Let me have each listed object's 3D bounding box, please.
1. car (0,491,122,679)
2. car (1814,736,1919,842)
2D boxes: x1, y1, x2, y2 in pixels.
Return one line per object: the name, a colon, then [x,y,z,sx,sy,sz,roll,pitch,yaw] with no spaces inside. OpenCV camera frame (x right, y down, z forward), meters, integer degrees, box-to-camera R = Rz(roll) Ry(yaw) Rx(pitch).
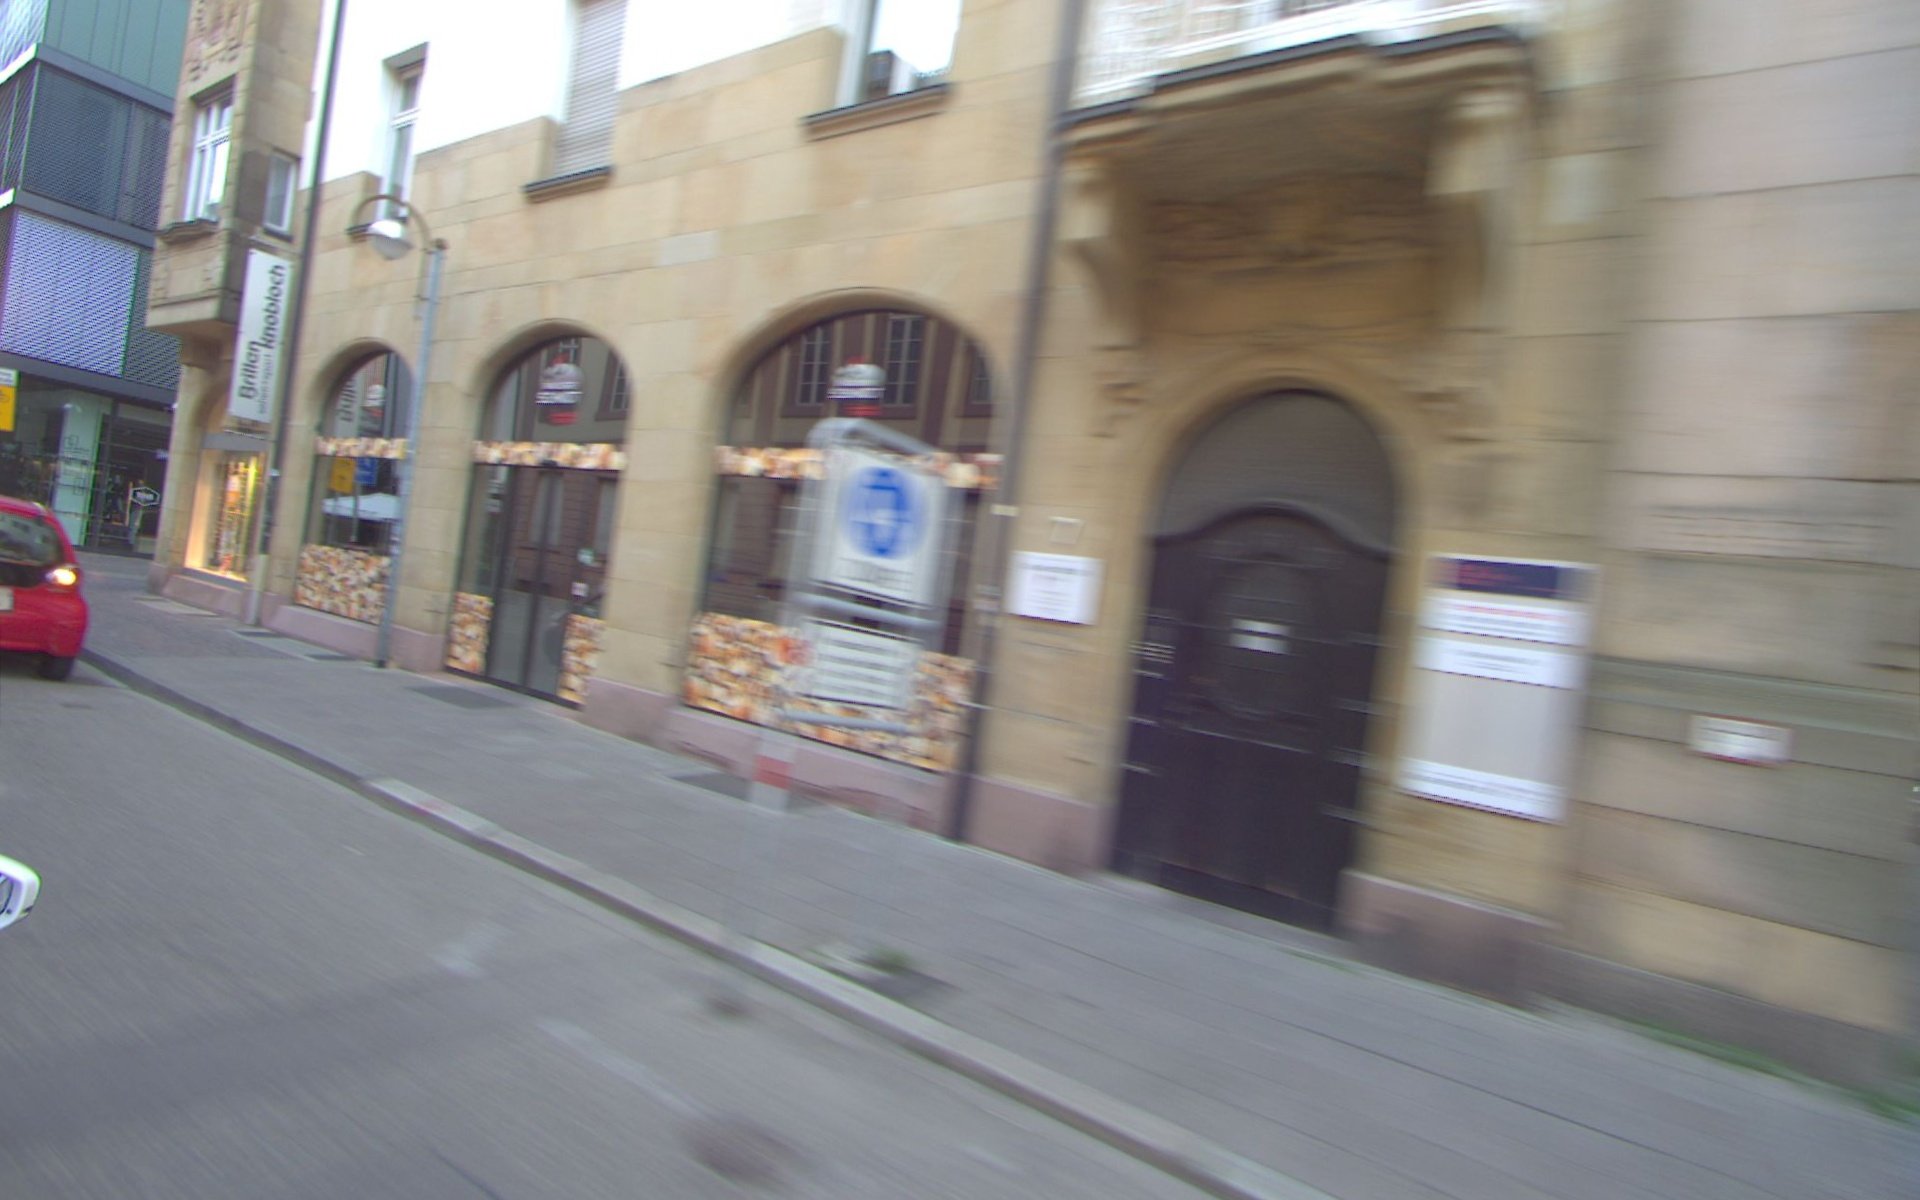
car: [-9.163,-0.336,8.978,3.481,1.442,1.653,7,-4,36]
car: [18.589,3.749,20.021,1.760,1.715,3.803,8,-1,33]
